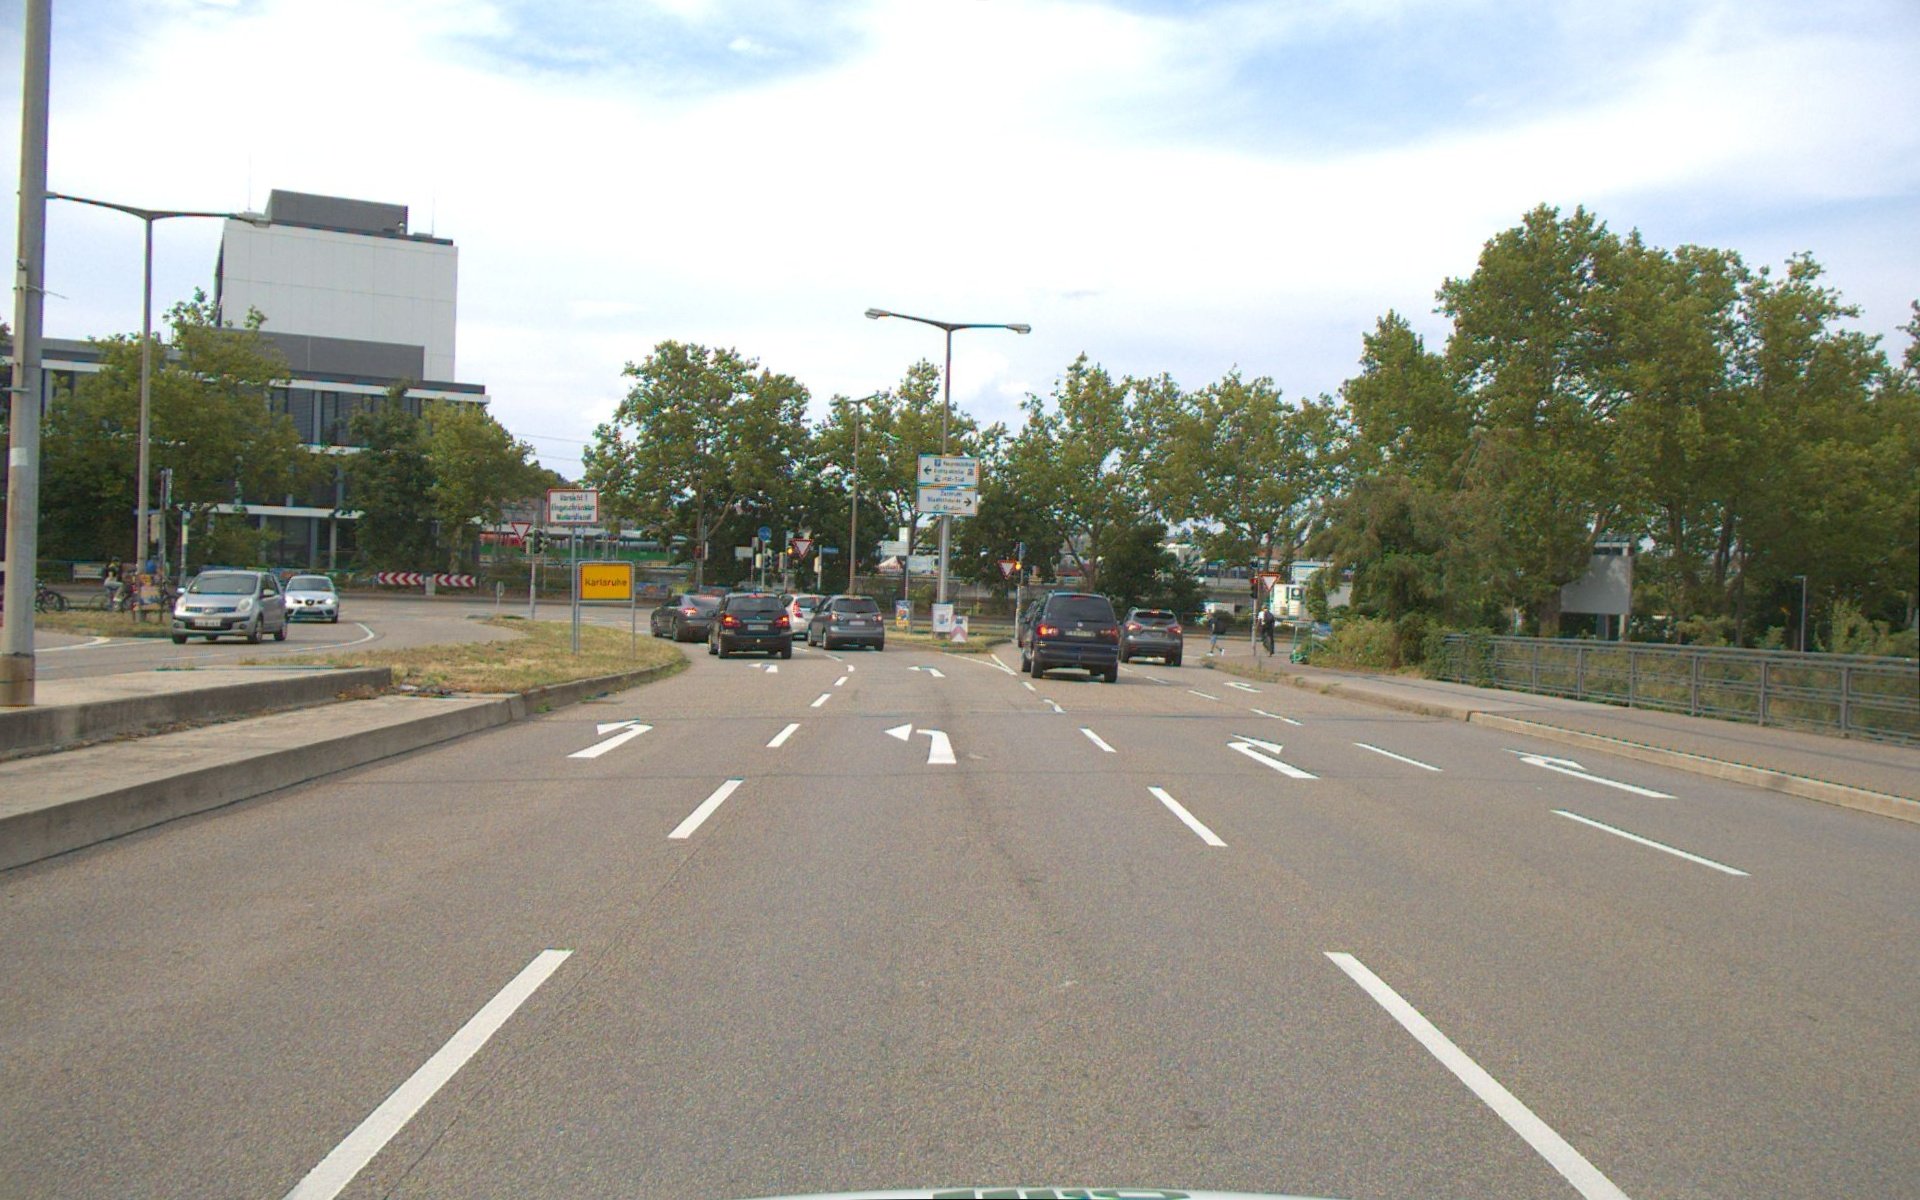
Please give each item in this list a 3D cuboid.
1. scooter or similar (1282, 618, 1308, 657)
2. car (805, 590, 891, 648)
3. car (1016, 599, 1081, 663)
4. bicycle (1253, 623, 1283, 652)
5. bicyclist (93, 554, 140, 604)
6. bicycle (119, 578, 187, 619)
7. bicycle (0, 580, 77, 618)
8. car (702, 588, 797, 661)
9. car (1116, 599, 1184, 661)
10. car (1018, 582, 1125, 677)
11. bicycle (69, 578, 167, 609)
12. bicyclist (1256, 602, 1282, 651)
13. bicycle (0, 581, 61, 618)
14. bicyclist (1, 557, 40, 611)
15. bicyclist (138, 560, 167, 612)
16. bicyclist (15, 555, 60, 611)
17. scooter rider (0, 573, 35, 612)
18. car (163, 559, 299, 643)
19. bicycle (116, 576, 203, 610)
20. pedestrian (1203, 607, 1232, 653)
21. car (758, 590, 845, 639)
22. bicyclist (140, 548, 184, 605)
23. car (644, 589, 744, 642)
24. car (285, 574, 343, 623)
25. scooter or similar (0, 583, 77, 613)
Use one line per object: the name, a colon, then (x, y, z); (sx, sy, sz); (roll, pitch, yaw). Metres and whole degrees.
scooter or similar: (10.468, 1.170, 51.741); (0.389, 1.204, 1.278); (1, -1, -8)
car: (-3.298, 0.529, 48.044); (1.712, 1.573, 4.065); (1, 0, -15)
car: (2.488, 0.852, 46.120); (1.655, 1.613, 4.158); (3, 0, 4)
bicycle: (11.160, 1.360, 59.919); (0.792, 0.969, 2.236); (1, 0, 4)
bicyclist: (-25.523, -0.634, 50.031); (0.636, 1.461, 1.110); (2, 1, 43)
bicycle: (-25.286, -0.031, 51.819); (1.879, 1.231, 0.637); (1, 1, -29)
bicycle: (-26.573, -0.023, 47.670); (1.889, 1.031, 0.619); (1, 1, -40)
car: (-5.252, 0.567, 40.810); (1.728, 1.602, 4.020); (2, 1, -15)
car: (5.612, 0.885, 49.213); (1.714, 1.671, 4.139); (3, 0, 3)
car: (2.255, 0.587, 34.292); (1.715, 1.755, 4.136); (3, 0, -2)
bicycle: (-25.486, -0.189, 50.089); (0.692, 0.905, 2.576); (2, 1, 42)
bicyclist: (11.189, 0.943, 59.941); (0.793, 1.726, 1.116); (1, 0, 4)
bicycle: (-27.381, -0.012, 48.290); (1.892, 1.031, 0.618); (1, 1, -44)
bicyclist: (-27.402, -0.466, 48.258); (0.834, 1.556, 0.618); (1, 1, -44)
bicyclist: (-25.278, -0.445, 51.799); (0.770, 1.608, 0.649); (1, 1, -28)
bicyclist: (-26.573, -0.491, 47.645); (1.010, 1.566, 0.619); (1, 1, -40)
scooter rider: (-28.418, -0.225, 49.658); (0.793, 1.157, 0.912); (2, 1, 40)
car: (-15.542, 0.037, 35.458); (1.710, 1.687, 4.069); (0, 0, -10)
bicycle: (-23.698, -0.193, 48.979); (0.794, 0.969, 2.229); (1, 0, 32)
pedestrian: (10.107, 1.173, 64.841); (1.025, 1.740, 0.854); (3, 0, 10)
car: (-5.254, 0.458, 54.483); (1.717, 1.508, 4.053); (1, 0, -23)
bicyclist: (-23.653, -0.695, 49.024); (0.794, 1.685, 0.881); (1, 0, 33)
car: (-8.124, 0.437, 50.205); (1.795, 1.439, 4.740); (2, 0, -24)
car: (-19.954, -0.041, 51.020); (1.594, 1.435, 3.834); (0, 0, -22)
scooter or similar: (-28.125, -0.070, 50.023); (0.793, 0.864, 2.374); (2, 1, 39)
